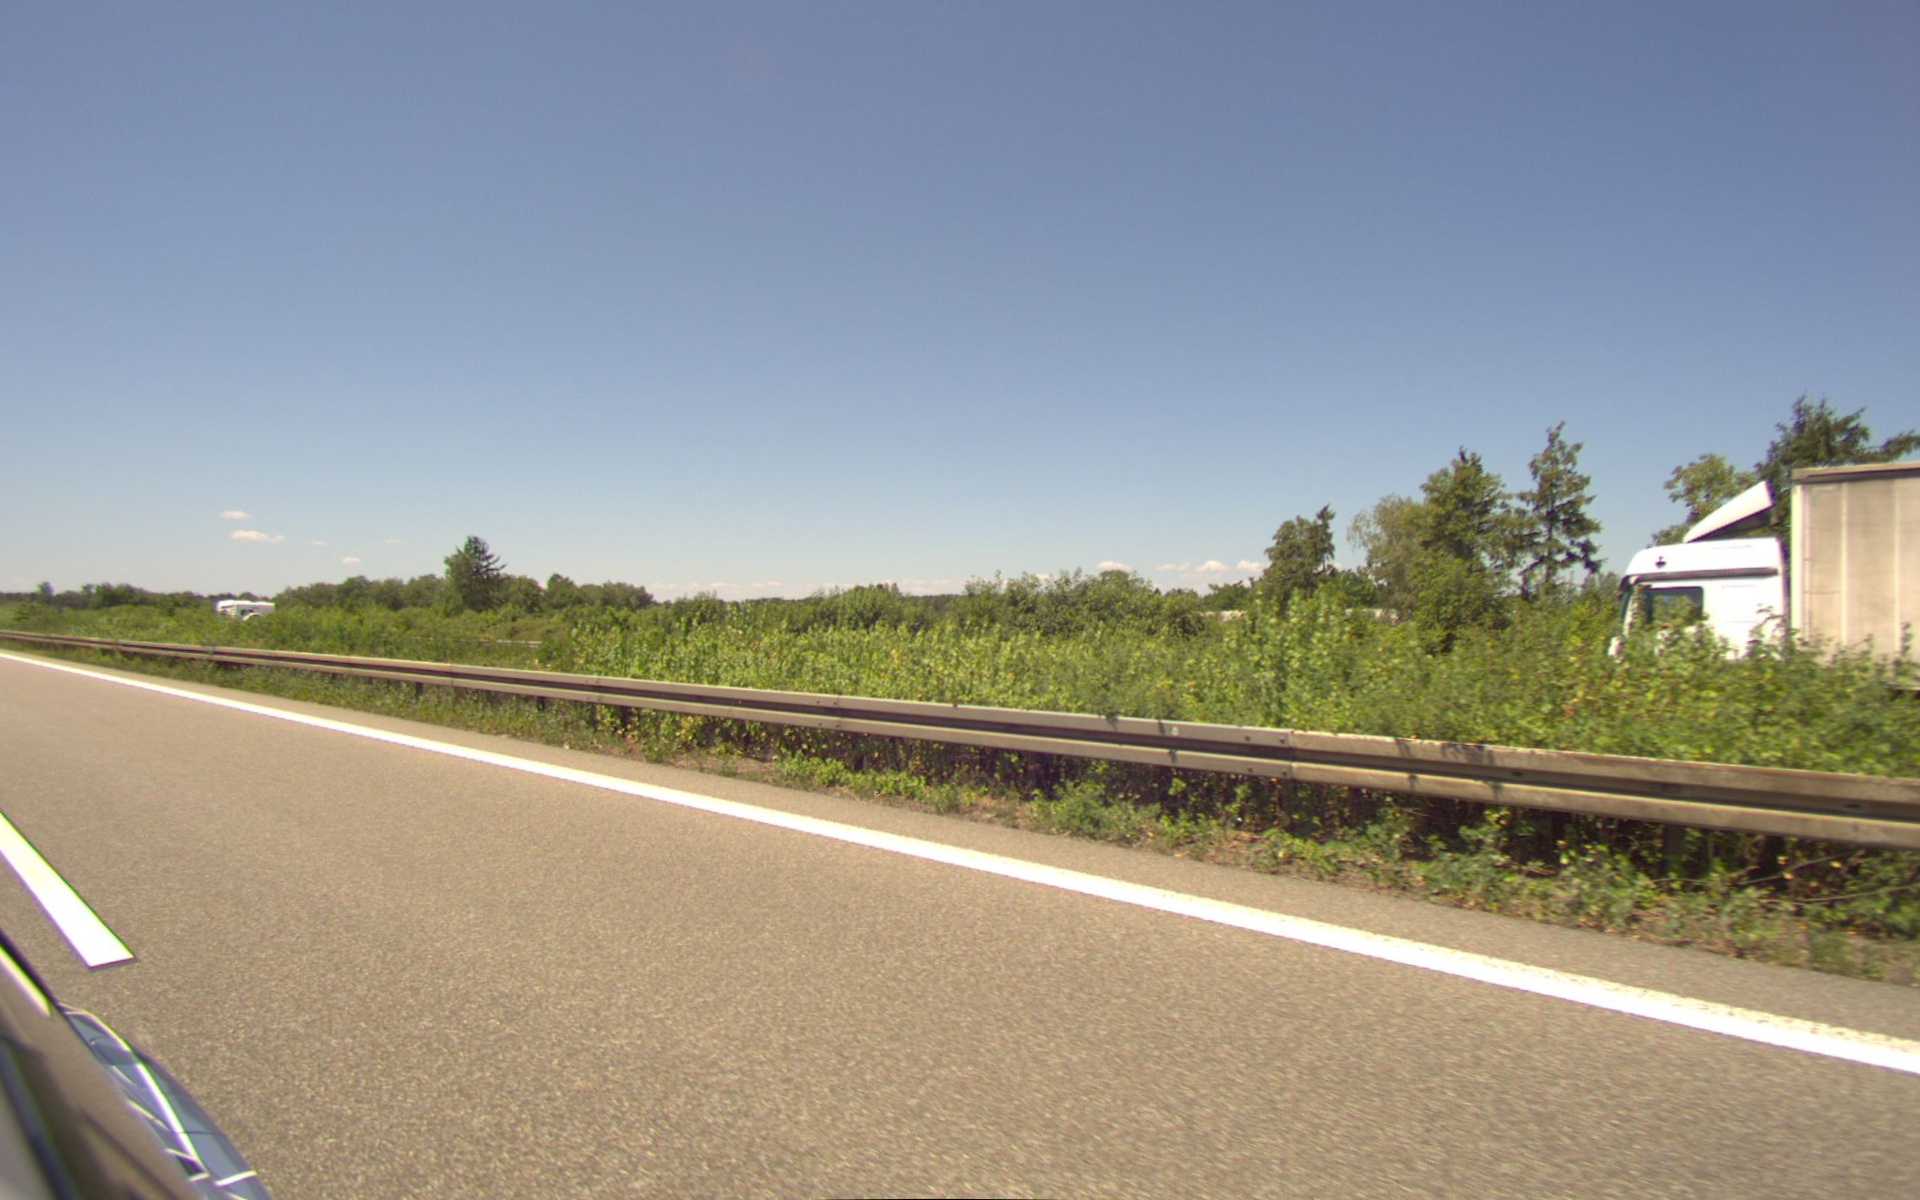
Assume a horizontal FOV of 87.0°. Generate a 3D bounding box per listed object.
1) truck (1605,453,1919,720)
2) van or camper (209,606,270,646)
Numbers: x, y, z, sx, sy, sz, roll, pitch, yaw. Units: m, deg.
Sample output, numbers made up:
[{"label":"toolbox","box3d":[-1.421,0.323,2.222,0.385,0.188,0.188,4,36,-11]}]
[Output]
[{"label":"truck","box3d":[14.977,-0.221,13.183,10.733,3.524,2.846,-1,0,42]},{"label":"van or camper","box3d":[-49.339,1.758,69.267,6.296,2.564,1.973,-1,0,41]}]
